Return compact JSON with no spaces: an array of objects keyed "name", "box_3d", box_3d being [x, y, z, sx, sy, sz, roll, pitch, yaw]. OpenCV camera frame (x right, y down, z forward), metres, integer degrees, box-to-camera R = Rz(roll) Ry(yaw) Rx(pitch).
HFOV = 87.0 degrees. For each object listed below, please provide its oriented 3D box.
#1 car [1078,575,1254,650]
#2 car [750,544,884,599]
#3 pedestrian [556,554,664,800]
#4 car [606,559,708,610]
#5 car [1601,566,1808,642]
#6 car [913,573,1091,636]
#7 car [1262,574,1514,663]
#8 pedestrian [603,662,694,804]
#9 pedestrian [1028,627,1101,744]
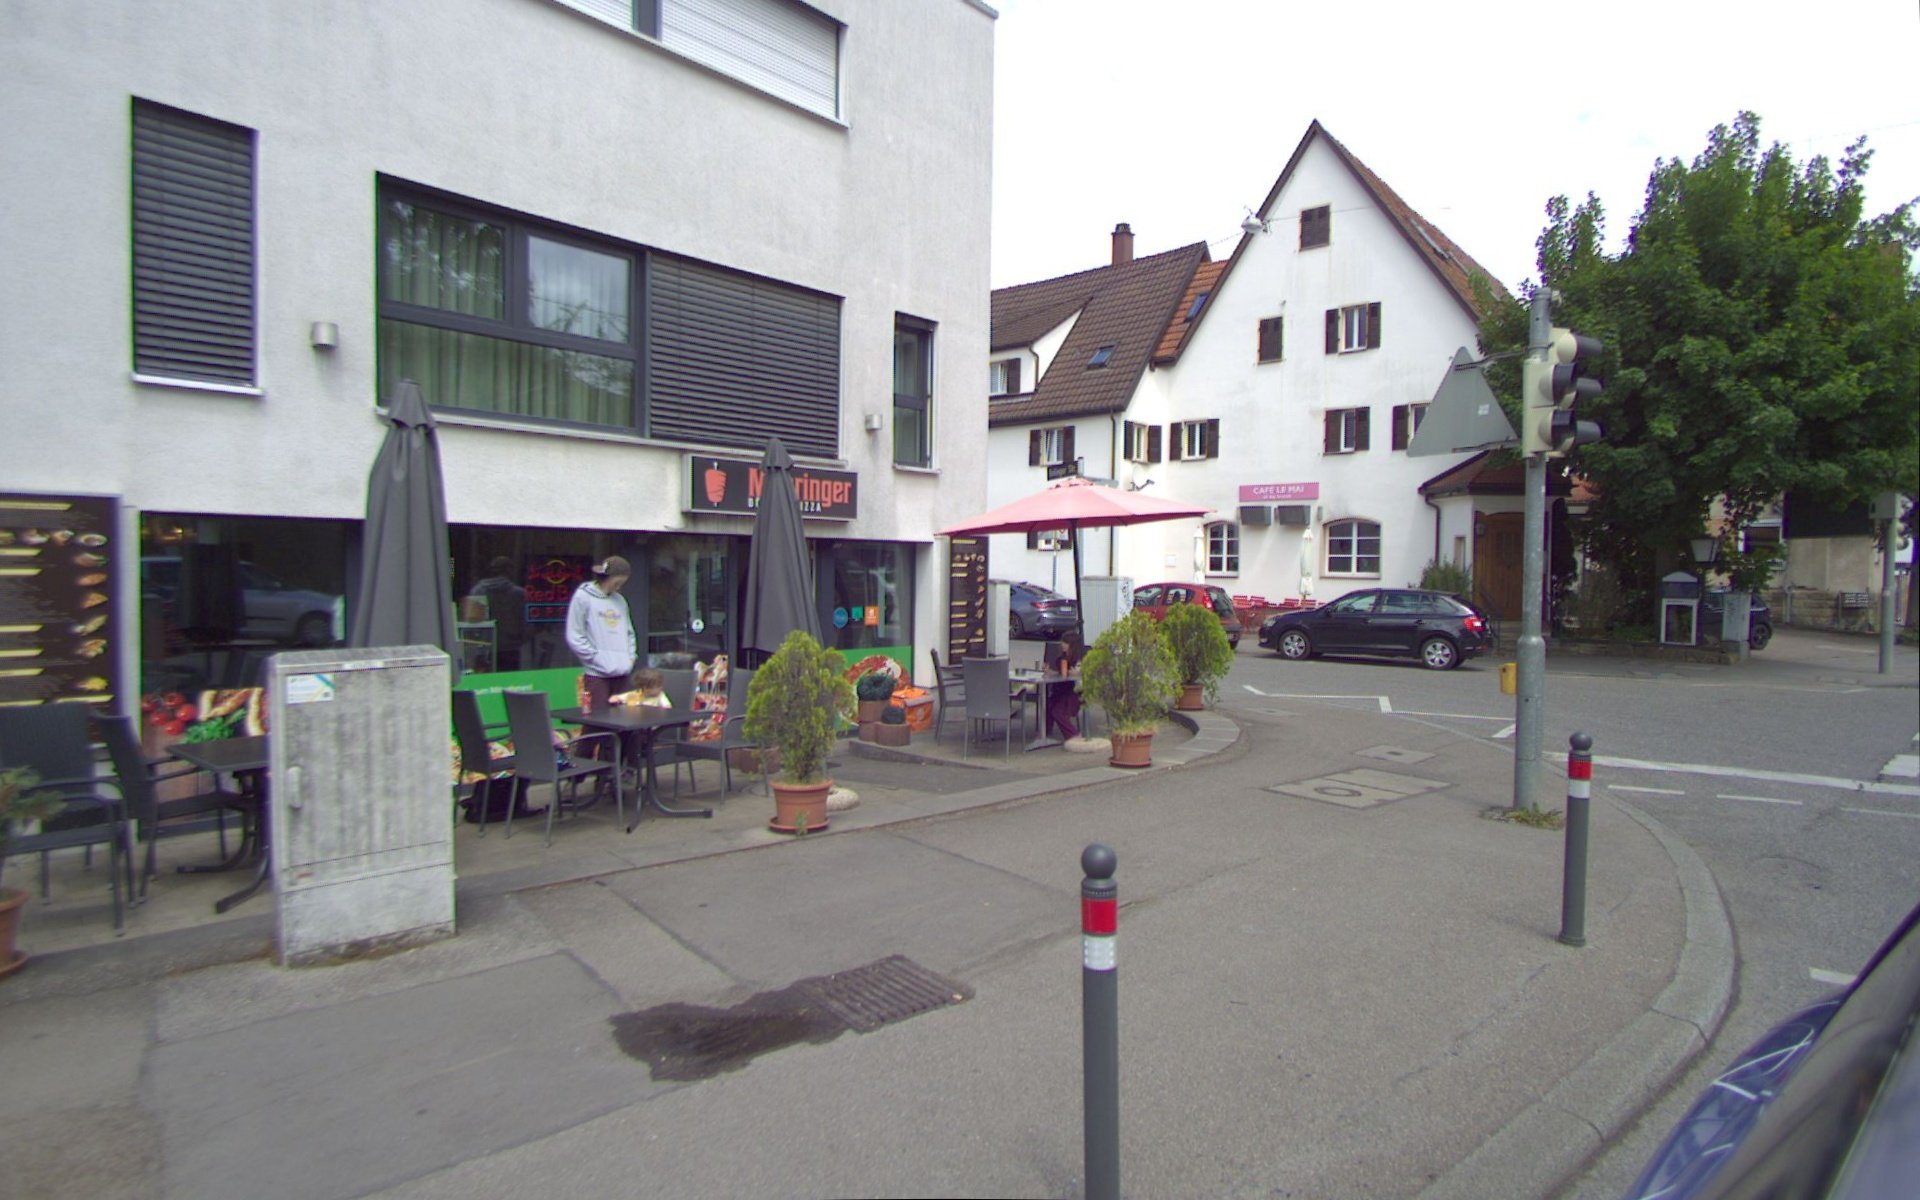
[{"name":"car","box_3d":[4.458,0.206,22.066,3.406,1.505,1.630,1,1,38]},{"name":"car","box_3d":[-4.303,-0.856,30.165,4.109,1.526,1.762,2,2,42]},{"name":"pedestrian","box_3d":[-2.663,0.551,7.723,0.425,1.784,0.669,0,1,30]},{"name":"car","box_3d":[-10.781,-0.569,35.904,4.109,1.702,1.602,1,1,42]},{"name":"car","box_3d":[17.685,0.092,24.085,3.993,1.535,1.763,2,4,-15]},{"name":"car","box_3d":[0.949,0.040,24.925,1.760,1.377,4.354,-1,2,-45]},{"name":"car","box_3d":[8.127,0.296,19.358,4.157,1.433,1.757,3,1,35]},{"name":"pedestrian","box_3d":[-2.288,0.960,7.456,0.416,0.950,0.492,0,1,30]},{"name":"pedestrian","box_3d":[1.067,0.842,10.283,0.562,1.102,0.629,0,1,25]}]
